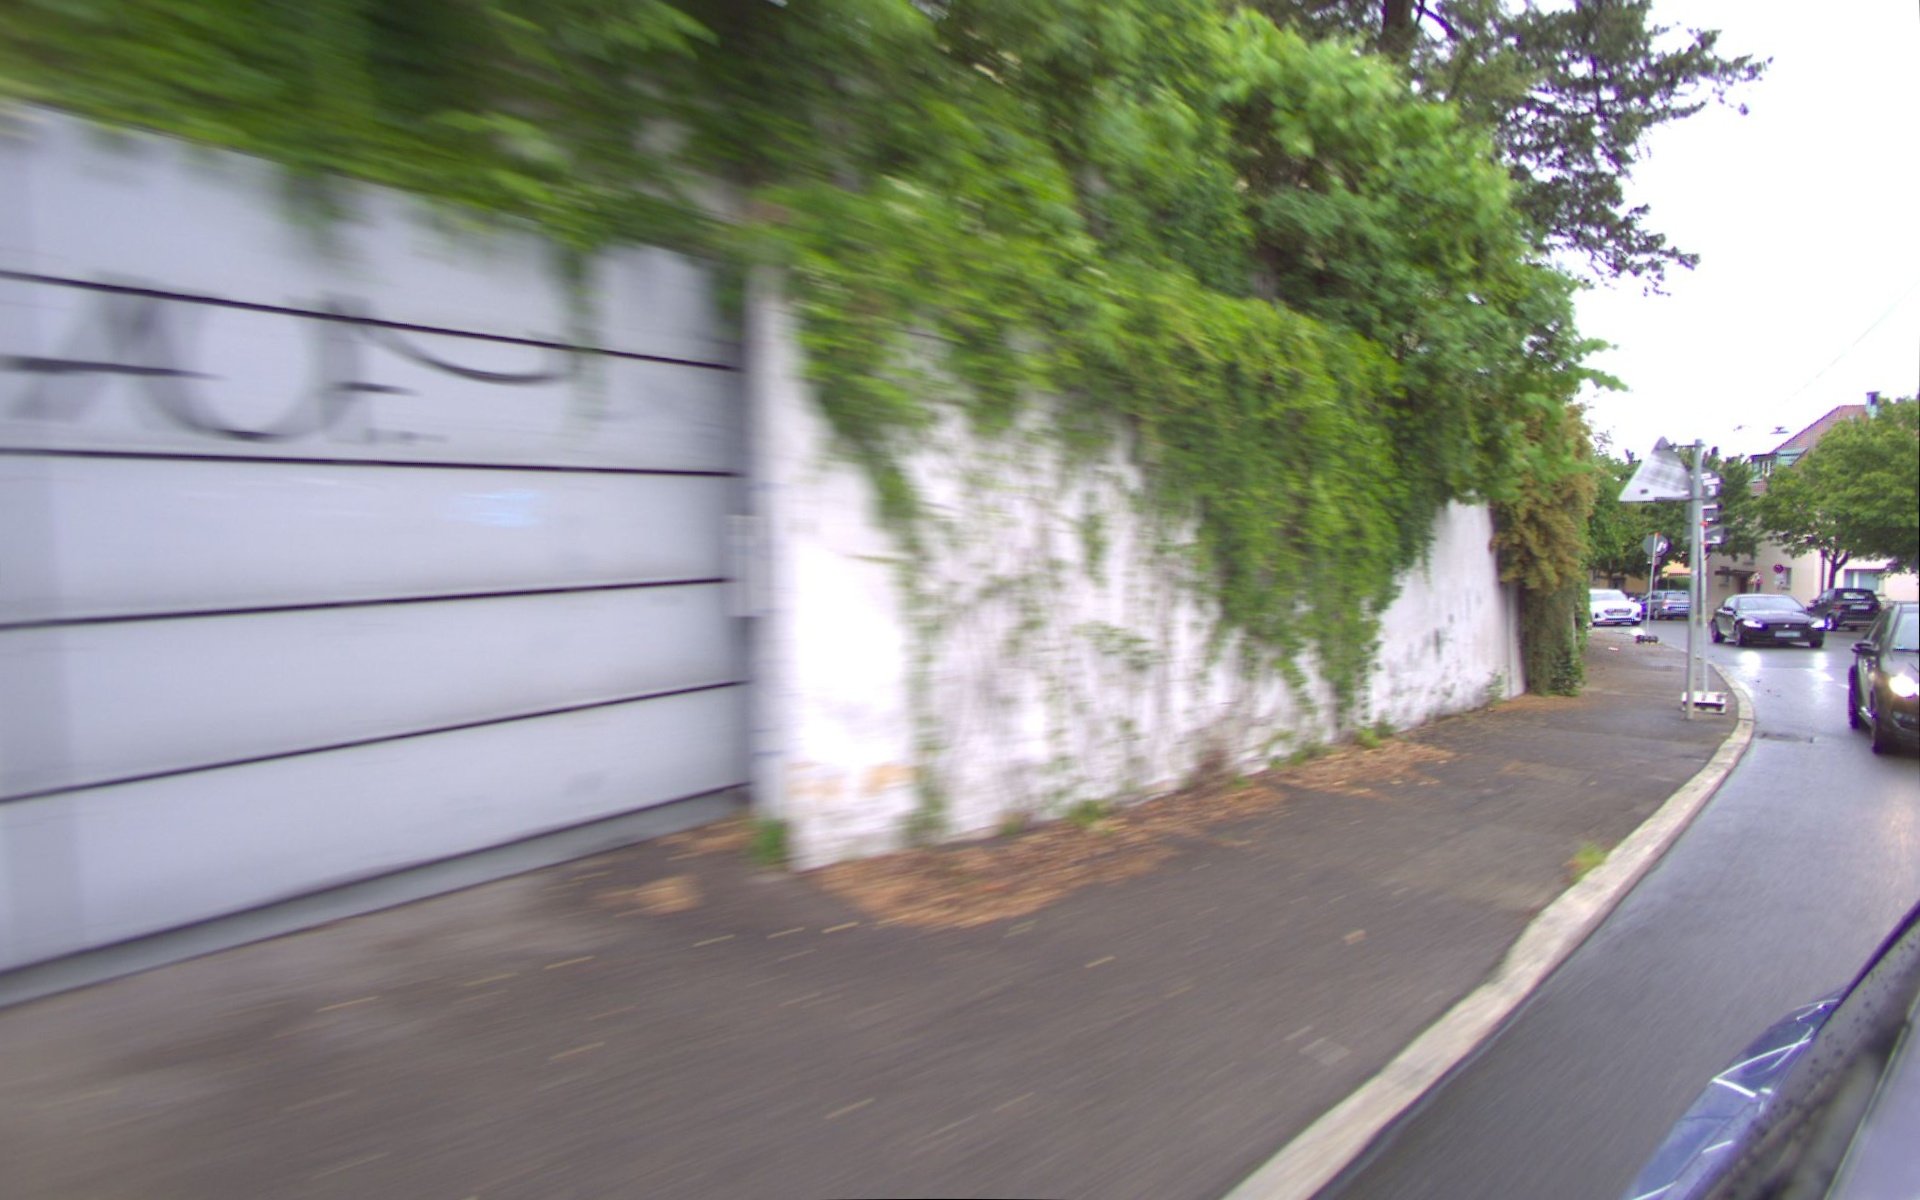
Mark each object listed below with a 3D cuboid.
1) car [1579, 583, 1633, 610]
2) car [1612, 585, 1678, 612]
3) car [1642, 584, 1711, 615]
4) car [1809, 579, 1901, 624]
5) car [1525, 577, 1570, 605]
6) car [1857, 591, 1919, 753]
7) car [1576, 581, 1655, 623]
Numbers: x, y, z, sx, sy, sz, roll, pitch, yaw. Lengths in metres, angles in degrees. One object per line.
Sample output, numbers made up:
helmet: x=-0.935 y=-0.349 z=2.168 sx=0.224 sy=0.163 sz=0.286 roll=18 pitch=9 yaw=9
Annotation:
car: x=41.906 y=-0.264 z=65.734 sx=1.789 sy=1.634 sz=4.485 roll=1 pitch=1 yaw=17
car: x=40.428 y=-0.128 z=59.881 sx=1.802 sy=1.528 sz=4.717 roll=1 pitch=1 yaw=16
car: x=38.861 y=-0.066 z=54.966 sx=1.699 sy=1.565 sz=4.273 roll=2 pitch=2 yaw=16
car: x=32.671 y=0.021 z=37.034 sx=1.504 sy=1.554 sz=3.015 roll=1 pitch=1 yaw=21
car: x=45.394 y=-0.714 z=78.340 sx=1.797 sy=2.037 sz=4.542 roll=2 pitch=1 yaw=15
car: x=10.482 y=0.637 z=10.371 sx=1.739 sy=1.460 sz=4.297 roll=0 pitch=0 yaw=39
car: x=29.751 y=0.069 z=46.103 sx=1.994 sy=1.760 sz=4.568 roll=-2 pitch=0 yaw=20
